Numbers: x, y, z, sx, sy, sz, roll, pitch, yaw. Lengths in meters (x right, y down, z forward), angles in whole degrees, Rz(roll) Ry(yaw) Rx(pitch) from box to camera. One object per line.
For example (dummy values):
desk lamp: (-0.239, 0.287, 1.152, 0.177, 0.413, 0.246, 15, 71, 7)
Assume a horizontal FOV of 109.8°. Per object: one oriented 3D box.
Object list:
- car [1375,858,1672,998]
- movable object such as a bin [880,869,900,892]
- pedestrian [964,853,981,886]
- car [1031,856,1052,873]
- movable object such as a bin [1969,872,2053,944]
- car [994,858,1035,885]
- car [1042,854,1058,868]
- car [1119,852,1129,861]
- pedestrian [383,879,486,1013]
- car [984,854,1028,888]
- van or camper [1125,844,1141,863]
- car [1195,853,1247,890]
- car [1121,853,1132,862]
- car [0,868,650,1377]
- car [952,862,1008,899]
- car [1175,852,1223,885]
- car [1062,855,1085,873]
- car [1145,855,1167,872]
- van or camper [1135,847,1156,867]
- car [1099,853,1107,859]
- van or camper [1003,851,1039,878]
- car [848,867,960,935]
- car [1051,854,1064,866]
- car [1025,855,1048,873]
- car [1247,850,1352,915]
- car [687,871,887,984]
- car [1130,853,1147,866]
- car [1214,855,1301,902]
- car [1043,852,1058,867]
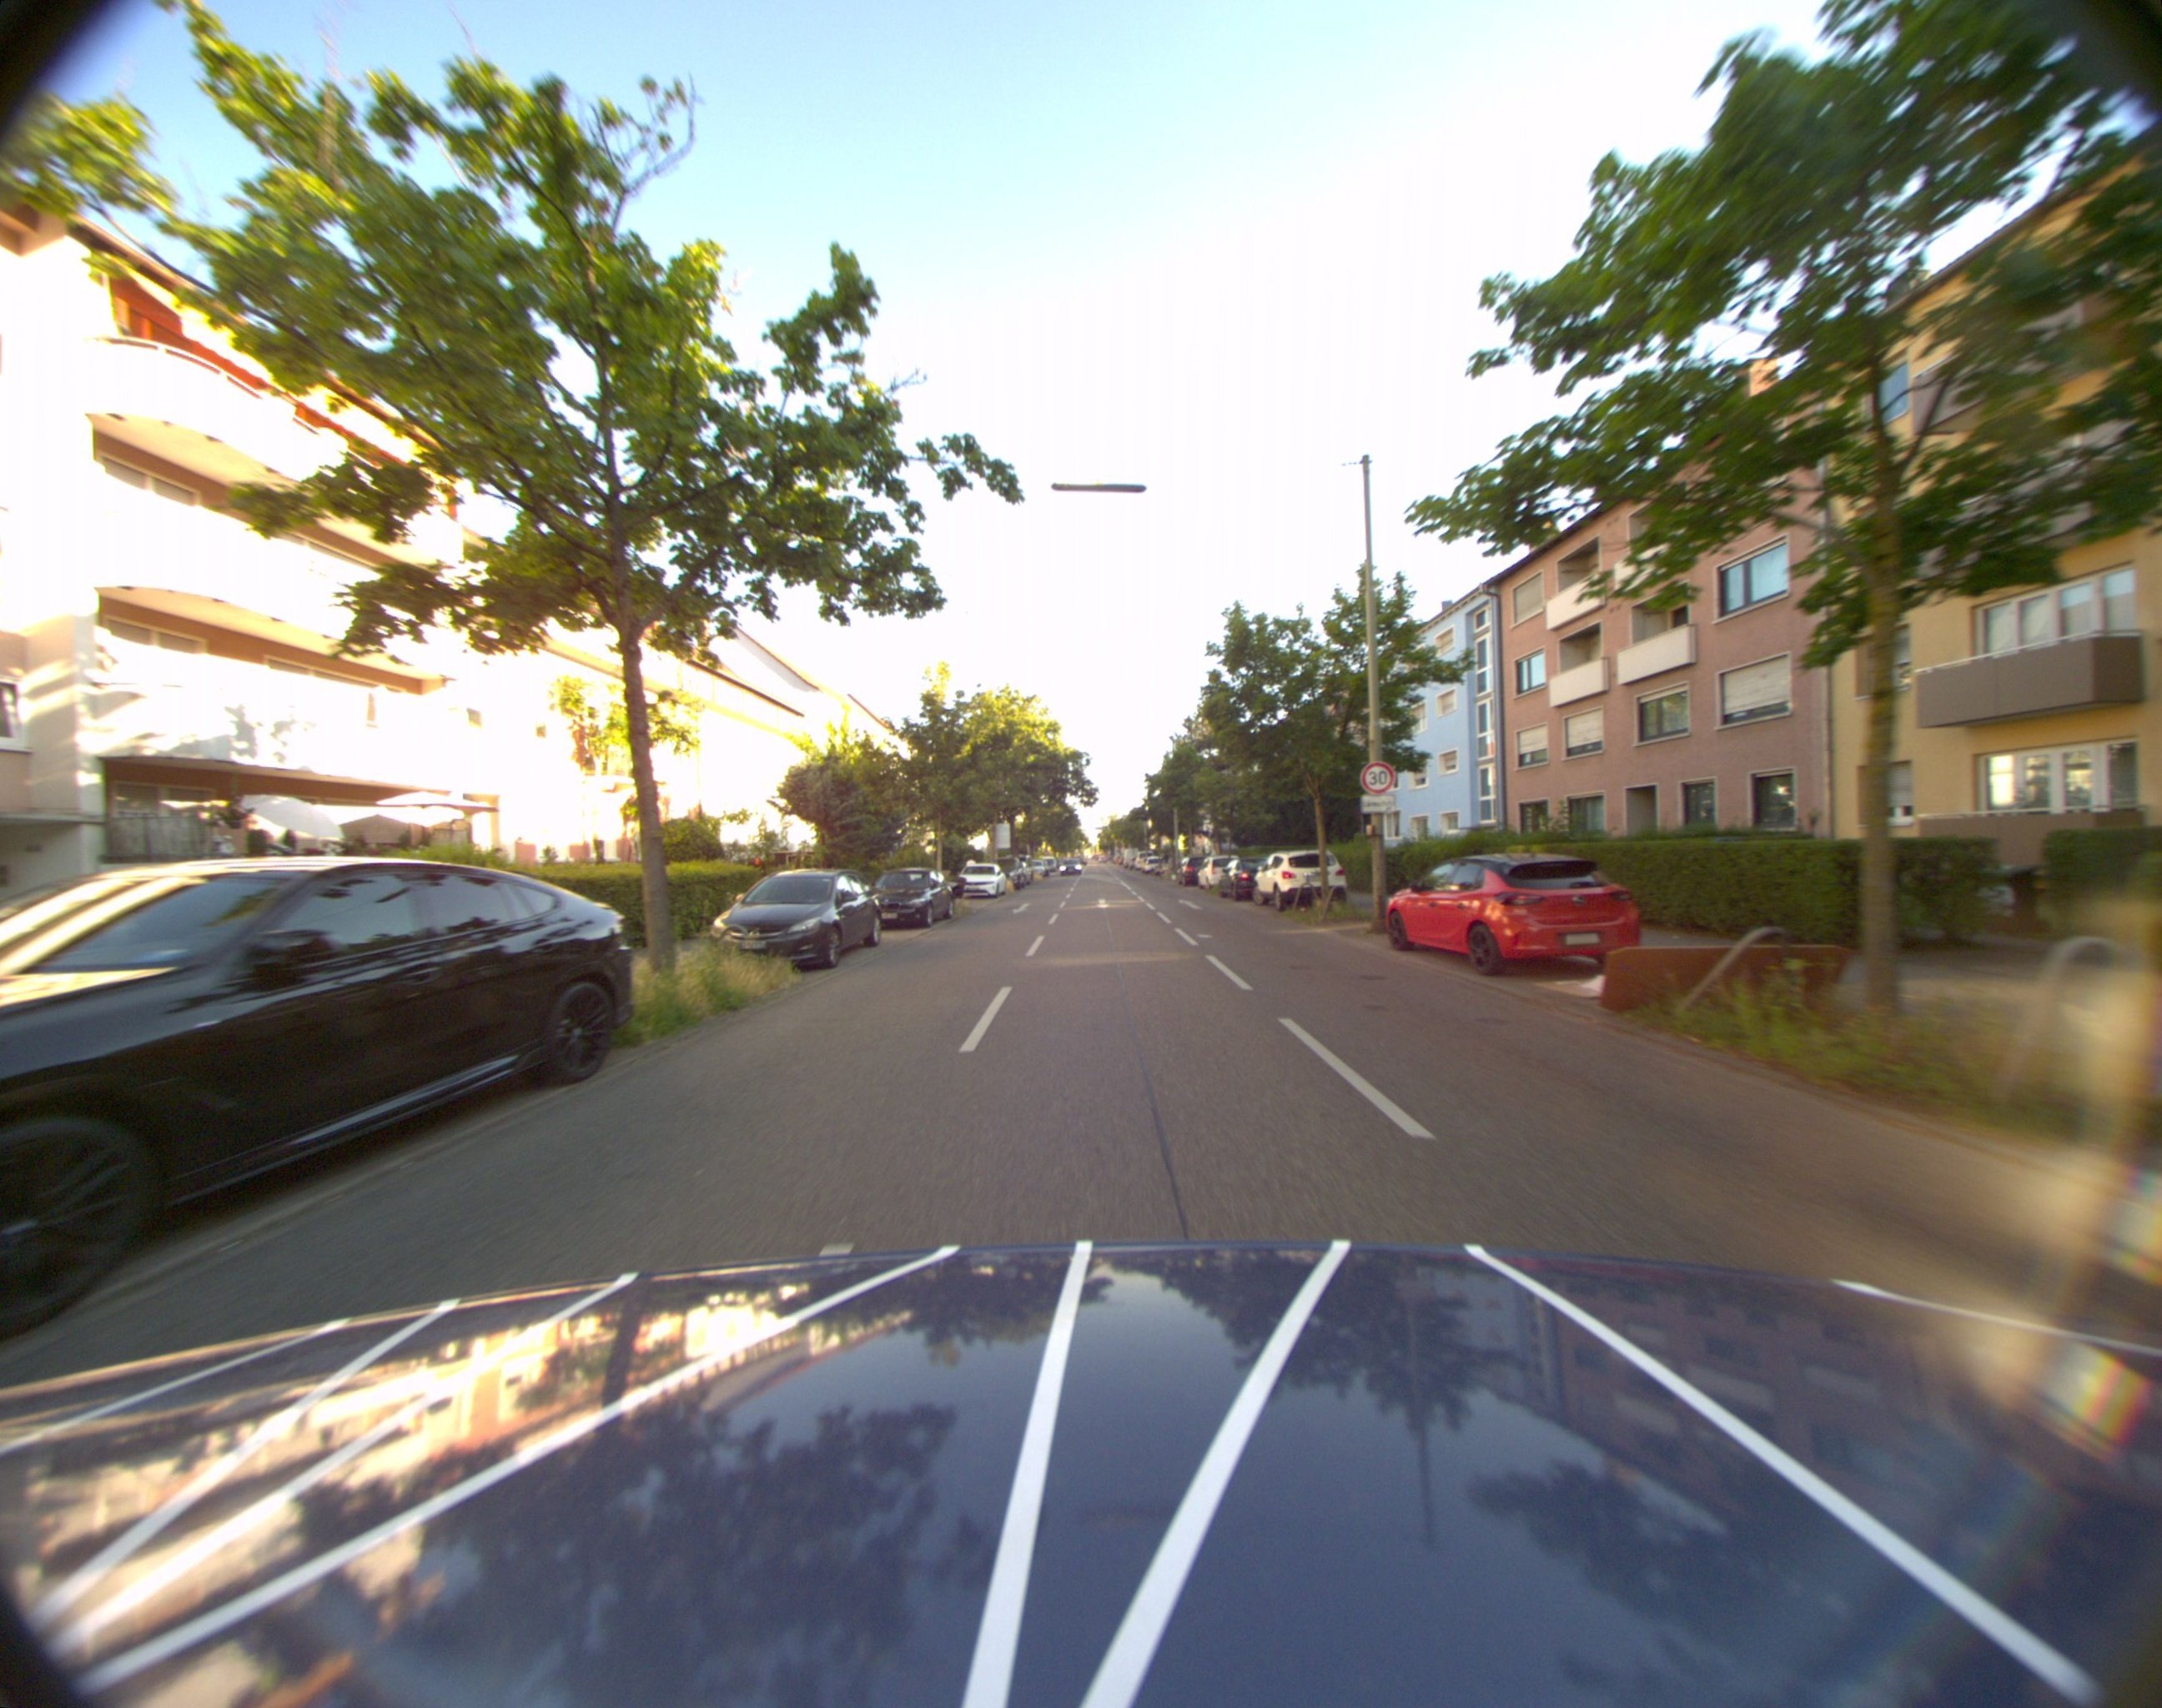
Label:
car: (5.594, 0.826, 10.269, 1.721, 1.443, 3.923, -3, 0, 1)
movable object such as a bin: (-9.056, 1.237, 35.994, 0.727, 1.052, 0.684, 2, 1, 0)
pedestrian: (-5.980, 0.846, 41.945, 0.669, 1.773, 0.764, -5, 3, 1)
car: (-3.590, 0.971, 69.333, 1.738, 1.435, 4.339, -1, 0, 0)
movable object such as a bin: (12.420, 0.710, 10.154, 0.582, 0.919, 0.446, -1, 1, -2)
car: (-3.945, 1.011, 45.788, 1.788, 1.495, 4.831, -2, 0, 3)
car: (-3.574, 0.823, 87.706, 1.798, 1.577, 3.999, -1, 0, -2)
car: (8.426, 0.482, 149.407, 1.808, 1.587, 3.957, -2, 0, 2)
pedestrian: (-8.158, 1.134, 9.614, 0.748, 1.606, 0.579, -2, 1, -1)
car: (-3.959, 0.868, 40.844, 1.921, 1.672, 4.707, 0, 0, 0)
van or camper: (7.214, -0.035, 105.257, 1.917, 2.528, 5.335, -2, 0, 1)
car: (6.158, 0.729, 33.845, 1.595, 1.483, 3.641, -2, 1, 0)
car: (7.906, 0.542, 131.424, 1.762, 1.439, 3.786, -2, 0, 5)
car: (-4.670, 0.979, 4.047, 1.953, 1.645, 4.796, -2, 0, 0)
car: (-4.297, 1.086, 32.853, 1.766, 1.394, 4.333, -1, 0, 1)
car: (5.967, 0.707, 38.983, 1.842, 1.508, 4.316, -3, 0, 2)
car: (-0.709, 0.895, 69.270, 1.999, 1.525, 3.999, -2, 0, 0)
car: (6.611, 0.829, 67.253, 1.684, 1.434, 3.882, -3, 0, 3)
van or camper: (6.983, 0.336, 82.652, 1.809, 2.002, 4.864, -2, 0, 0)
car: (5.420, 0.458, 188.797, 1.726, 1.473, 3.956, -1, 0, 0)
van or camper: (-4.290, 0.771, 55.149, 1.998, 1.831, 5.260, -2, -1, 1)
car: (-4.412, 1.112, 19.674, 1.774, 1.440, 4.484, -1, 0, 1)
car: (-3.142, 0.815, 101.720, 1.798, 1.558, 3.671, -1, 0, -2)
car: (-3.702, 0.849, 64.032, 1.738, 1.435, 4.304, -1, 0, 0)
car: (6.040, 0.713, 21.474, 1.781, 1.579, 4.186, -3, 0, 1)
car: (-4.684, 1.079, 12.872, 1.721, 1.463, 4.431, -1, 0, -1)
car: (6.855, 0.613, 91.365, 1.808, 1.489, 3.957, -2, 0, 2)
car: (6.043, 0.789, 26.579, 1.998, 1.439, 4.458, -1, 0, 0)
car: (-3.697, 0.690, 93.096, 1.798, 1.761, 3.999, -1, 0, -2)
